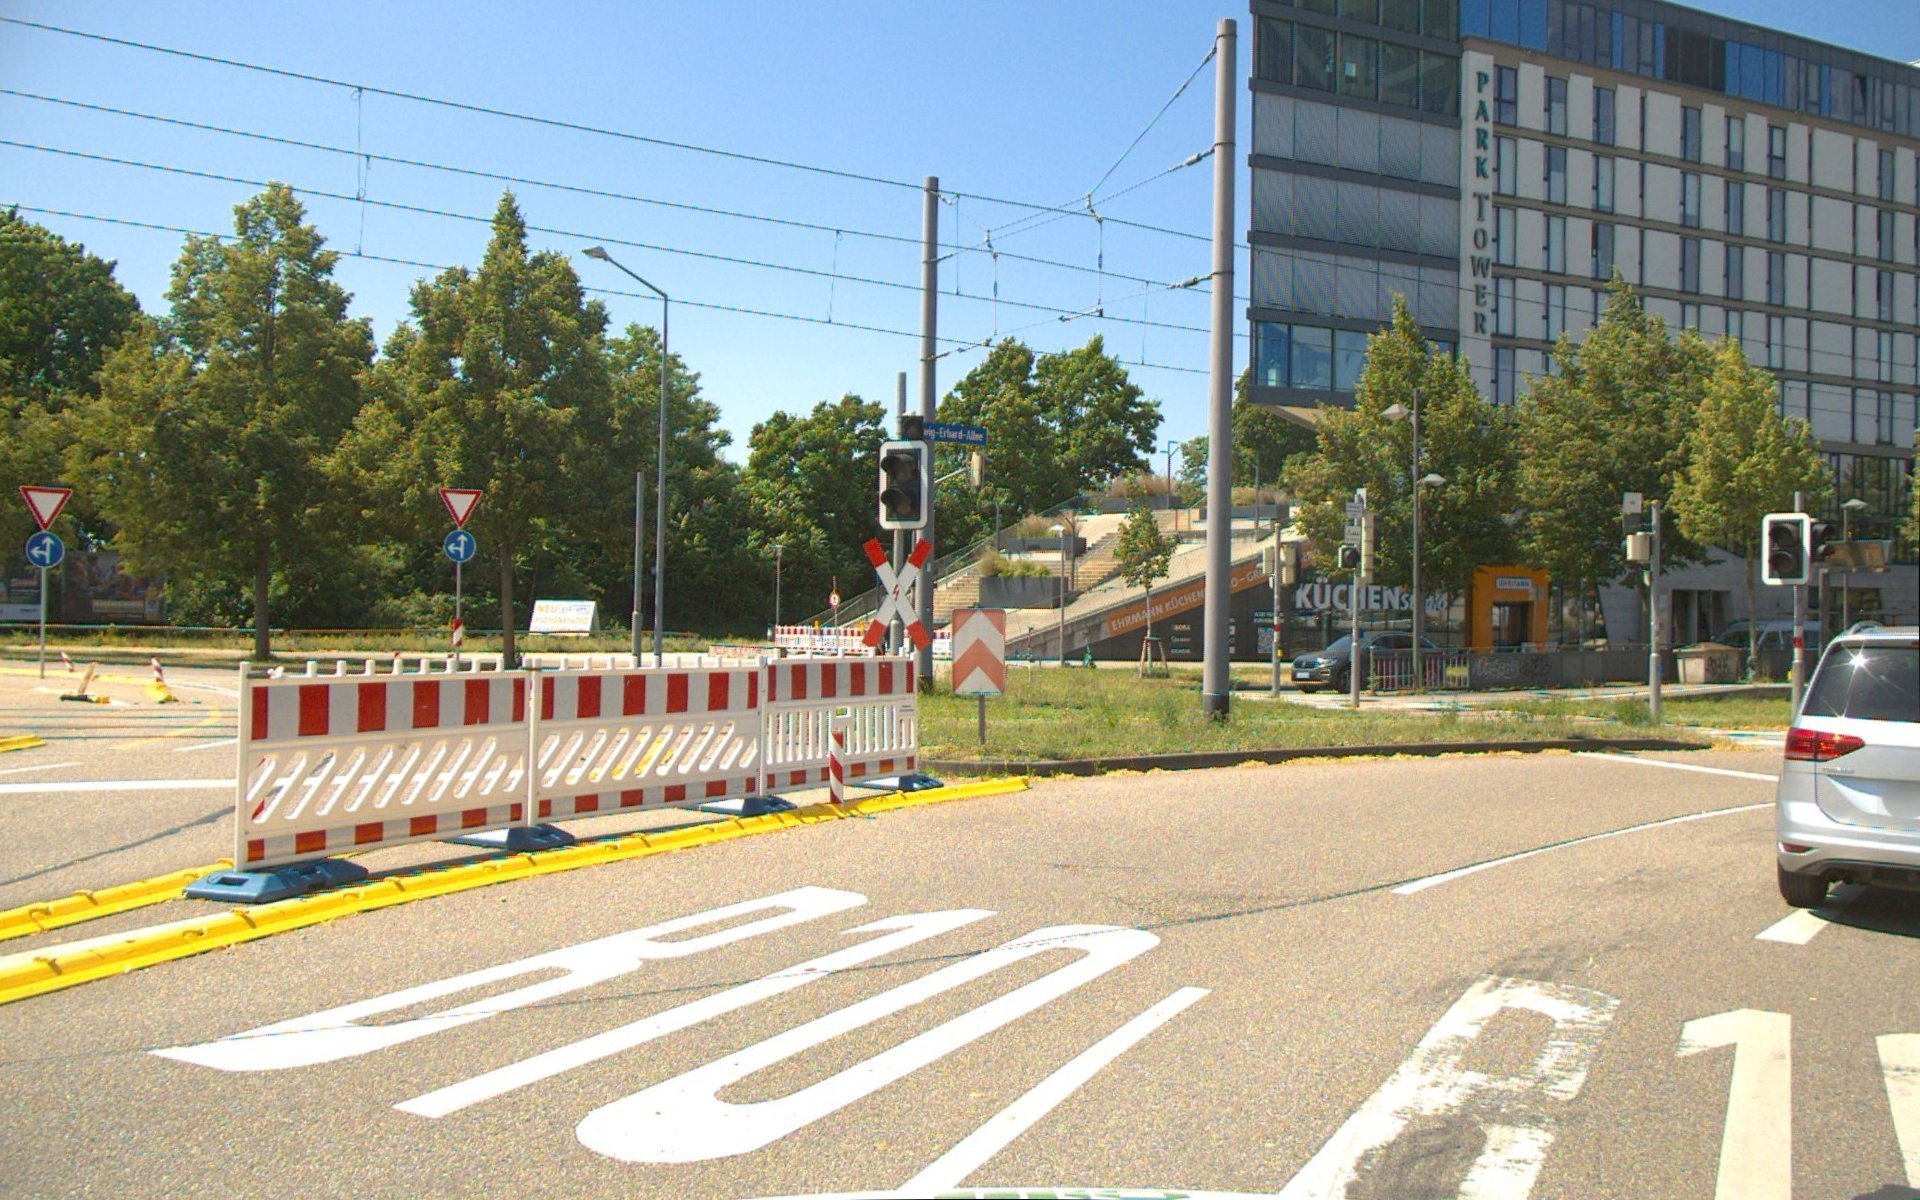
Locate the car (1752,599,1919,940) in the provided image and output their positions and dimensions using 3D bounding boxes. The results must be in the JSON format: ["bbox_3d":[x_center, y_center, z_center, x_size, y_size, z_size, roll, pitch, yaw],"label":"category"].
[{"bbox_3d":[6.338,0.942,10.061,1.772,1.677,4.583,3,0,38],"label":"car"}]

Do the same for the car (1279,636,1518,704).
[{"bbox_3d":[11.165,1.777,42.139,5.725,1.544,1.991,2,-1,-17],"label":"car"}]

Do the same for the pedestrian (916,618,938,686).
[{"bbox_3d":[-0.868,1.379,43.741,0.442,1.769,0.289,2,-1,-27],"label":"pedestrian"}]

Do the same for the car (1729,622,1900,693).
[{"bbox_3d":[27.598,1.855,53.387,5.453,2.143,1.984,2,-1,-25],"label":"car"}]

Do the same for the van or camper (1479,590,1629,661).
[{"bbox_3d":[26.125,1.135,72.672,6.688,2.872,2.361,2,-1,-29],"label":"van or camper"}]
